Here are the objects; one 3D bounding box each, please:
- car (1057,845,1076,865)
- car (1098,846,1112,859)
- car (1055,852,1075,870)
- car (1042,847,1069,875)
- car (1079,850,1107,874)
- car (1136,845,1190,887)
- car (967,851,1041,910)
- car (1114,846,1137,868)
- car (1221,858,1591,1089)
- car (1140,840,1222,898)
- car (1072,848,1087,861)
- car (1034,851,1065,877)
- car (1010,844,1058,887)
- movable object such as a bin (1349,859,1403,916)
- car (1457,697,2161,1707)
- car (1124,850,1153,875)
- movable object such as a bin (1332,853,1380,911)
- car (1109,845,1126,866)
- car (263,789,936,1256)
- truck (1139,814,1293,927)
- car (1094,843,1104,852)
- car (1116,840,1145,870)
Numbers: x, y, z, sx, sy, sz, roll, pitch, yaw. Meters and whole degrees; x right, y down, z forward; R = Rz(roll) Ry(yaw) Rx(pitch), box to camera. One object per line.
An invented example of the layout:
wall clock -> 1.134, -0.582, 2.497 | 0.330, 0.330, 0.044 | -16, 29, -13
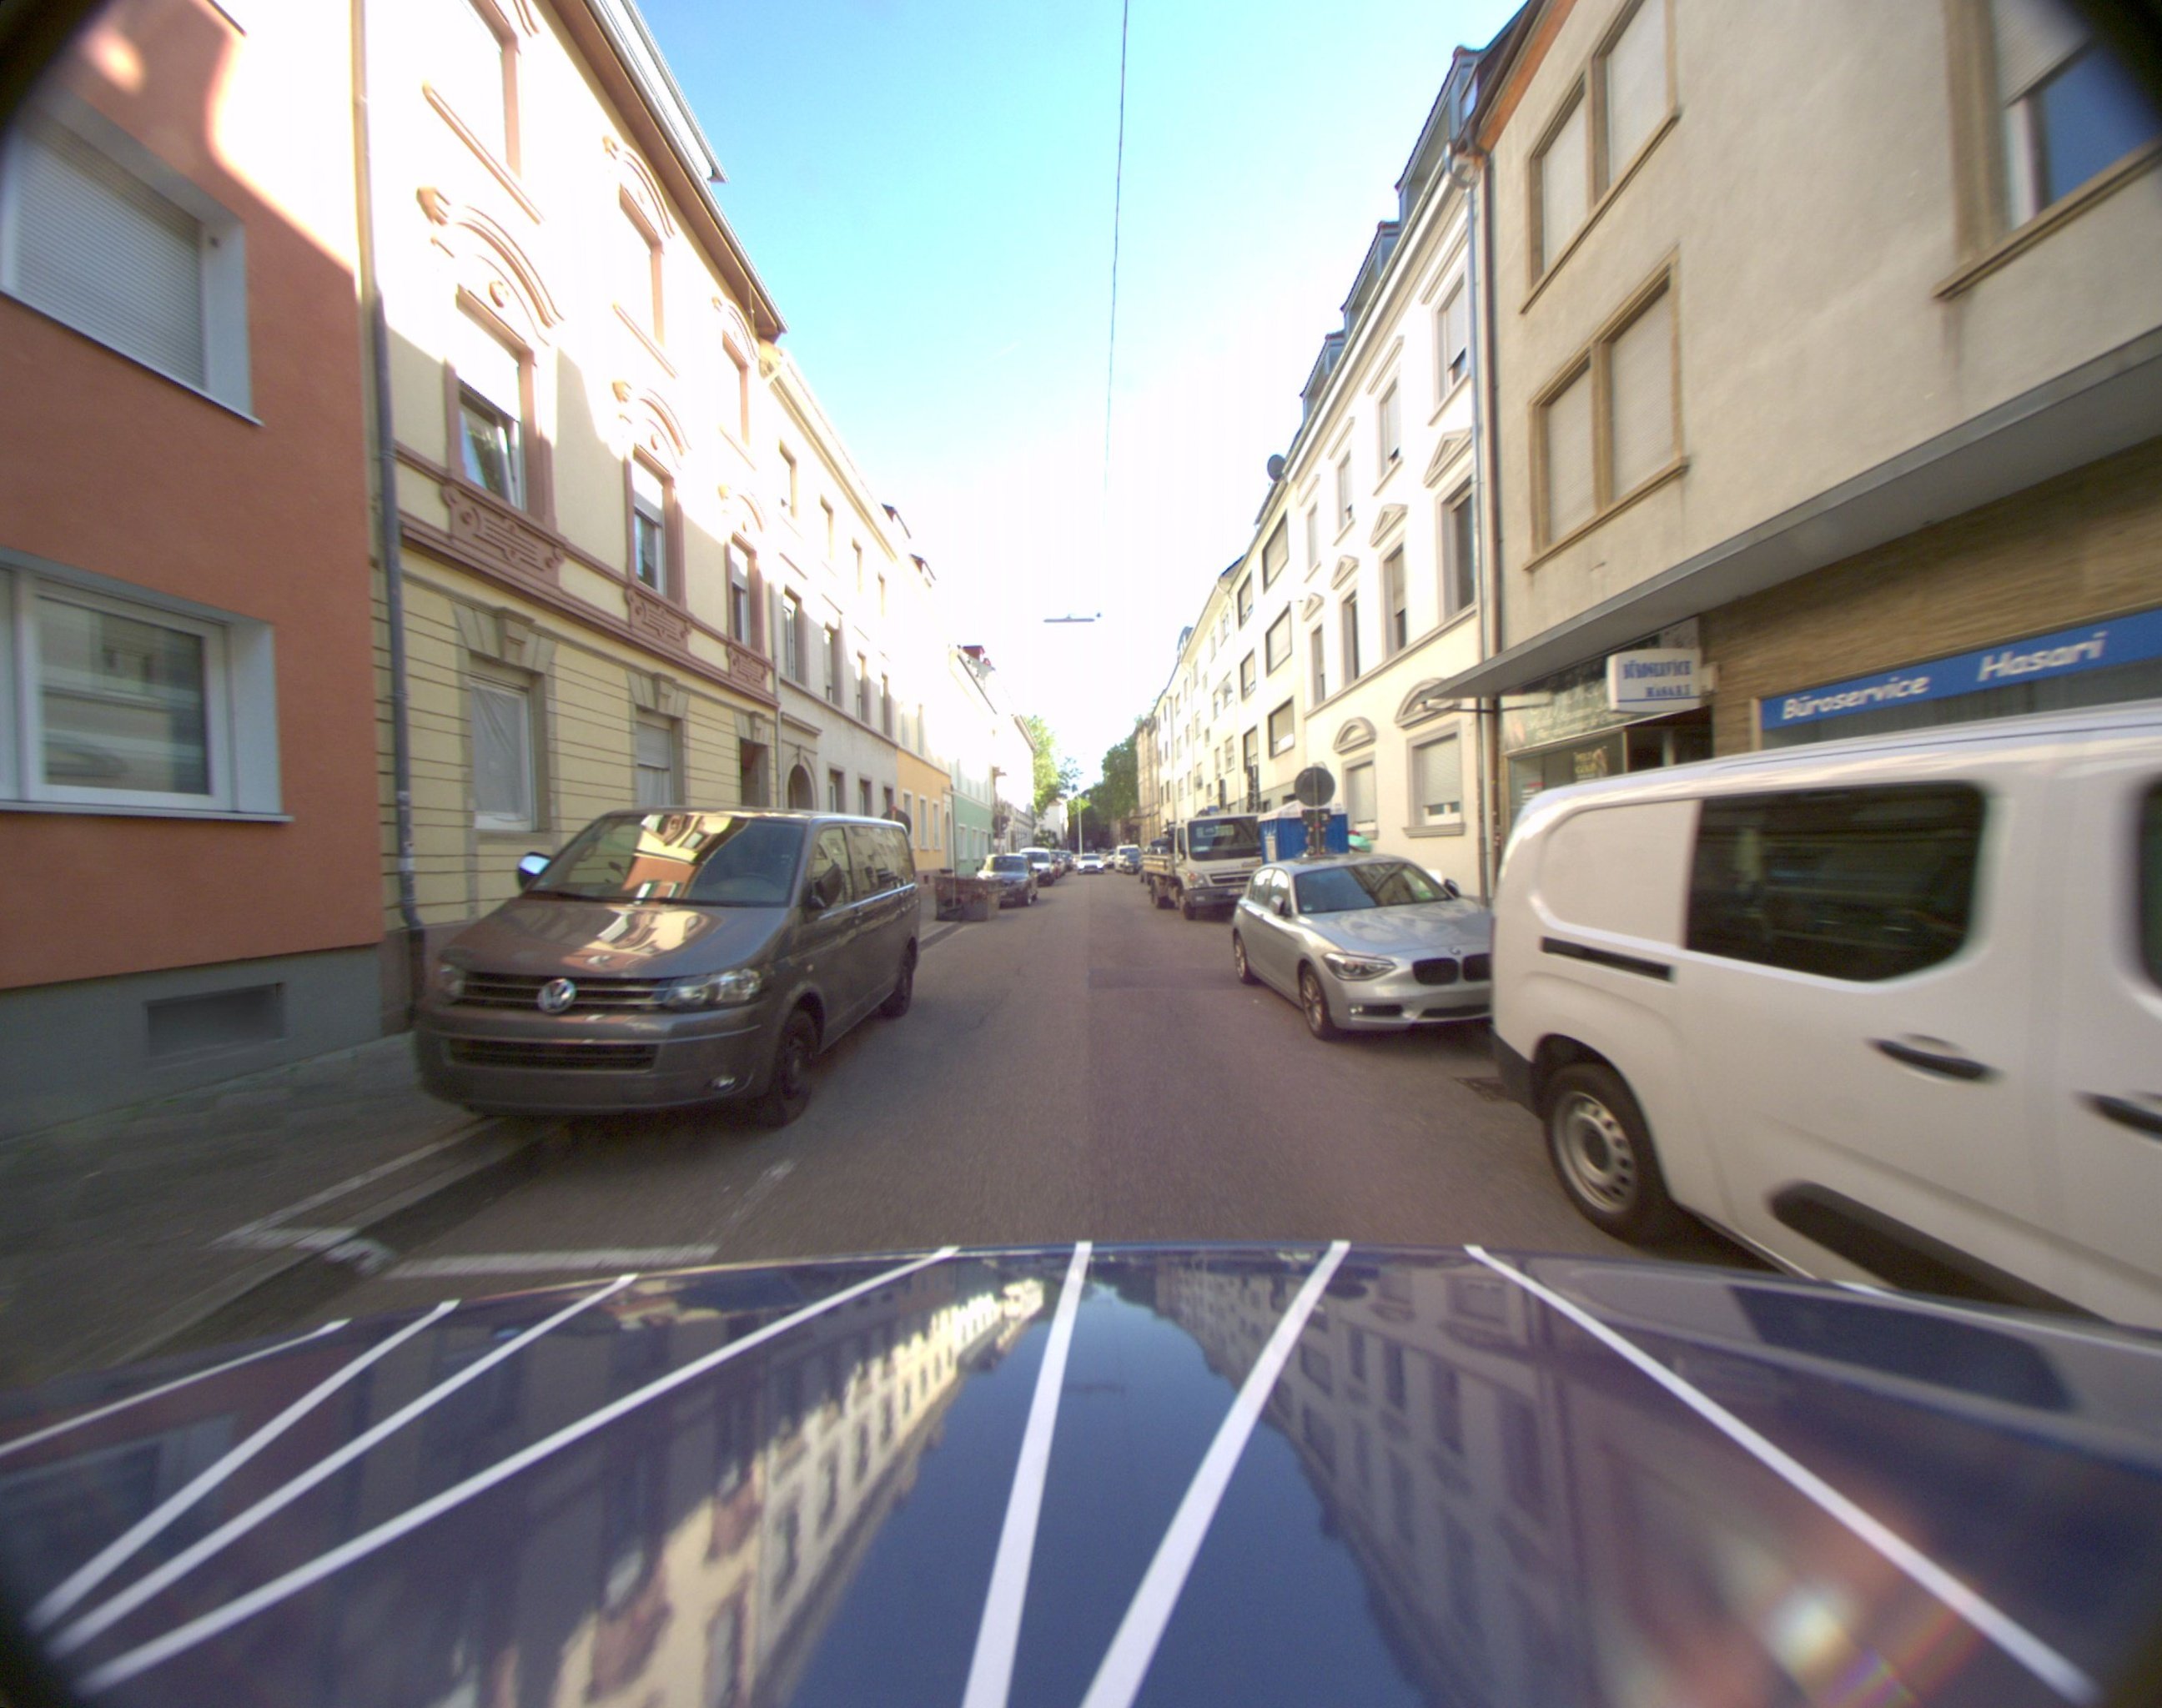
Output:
car -> -1.458, 0.102, 78.650 | 1.786, 1.867, 4.021 | -2, 1, 1
car -> 3.355, -0.269, 105.943 | 1.786, 1.674, 4.021 | -2, 1, 1
car -> -1.410, 0.585, 67.295 | 1.588, 1.409, 3.557 | -2, 1, 1
car -> -1.710, 0.428, 51.650 | 1.604, 1.772, 3.759 | -2, 1, 1
car -> 0.837, 0.521, 52.304 | 1.761, 1.399, 4.021 | -2, 1, 1
car -> 3.707, 0.481, 35.043 | 1.759, 1.760, 4.177 | -1, 1, -3
car -> -2.291, 0.750, 23.572 | 1.744, 1.534, 4.050 | -2, 1, 1
car -> 3.910, 0.249, 66.955 | 1.768, 1.724, 4.835 | -2, 1, 1
car -> 2.598, 0.815, 7.353 | 1.669, 1.514, 4.488 | 0, 0, 0
car -> 3.416, 0.448, 26.998 | 1.918, 1.871, 5.183 | 0, 1, -4
car -> -0.184, 0.074, 99.734 | 1.857, 1.620, 4.072 | -2, 1, 1
car -> -1.878, 0.585, 45.956 | 1.578, 1.460, 3.869 | -2, -1, 1
car -> -2.186, 0.489, 36.678 | 1.898, 1.875, 4.457 | -2, 1, 1
movable object such as a bin -> 5.921, 0.660, 15.290 | 0.788, 1.066, 0.696 | -2, 2, -3
car -> 2.748, 0.669, 1.346 | 1.771, 1.888, 4.808 | 0, 0, 0
car -> 3.755, 0.501, 50.094 | 1.730, 1.484, 4.115 | -3, 0, 2
movable object such as a bin -> 5.931, 0.600, 16.419 | 0.759, 1.184, 0.686 | -2, 2, -3
car -> 3.663, 0.147, 76.298 | 1.585, 1.971, 4.067 | -2, 1, 1
car -> -2.646, 0.748, 5.902 | 1.975, 2.017, 4.898 | -3, 1, 0
truck -> 3.020, 0.268, 18.706 | 2.171, 2.296, 6.344 | -1, 1, -5
car -> 3.459, -1.212, 145.629 | 1.985, 1.674, 4.021 | -2, 1, 1
car -> 3.648, 0.056, 56.595 | 1.913, 2.076, 4.696 | -2, 1, 1
